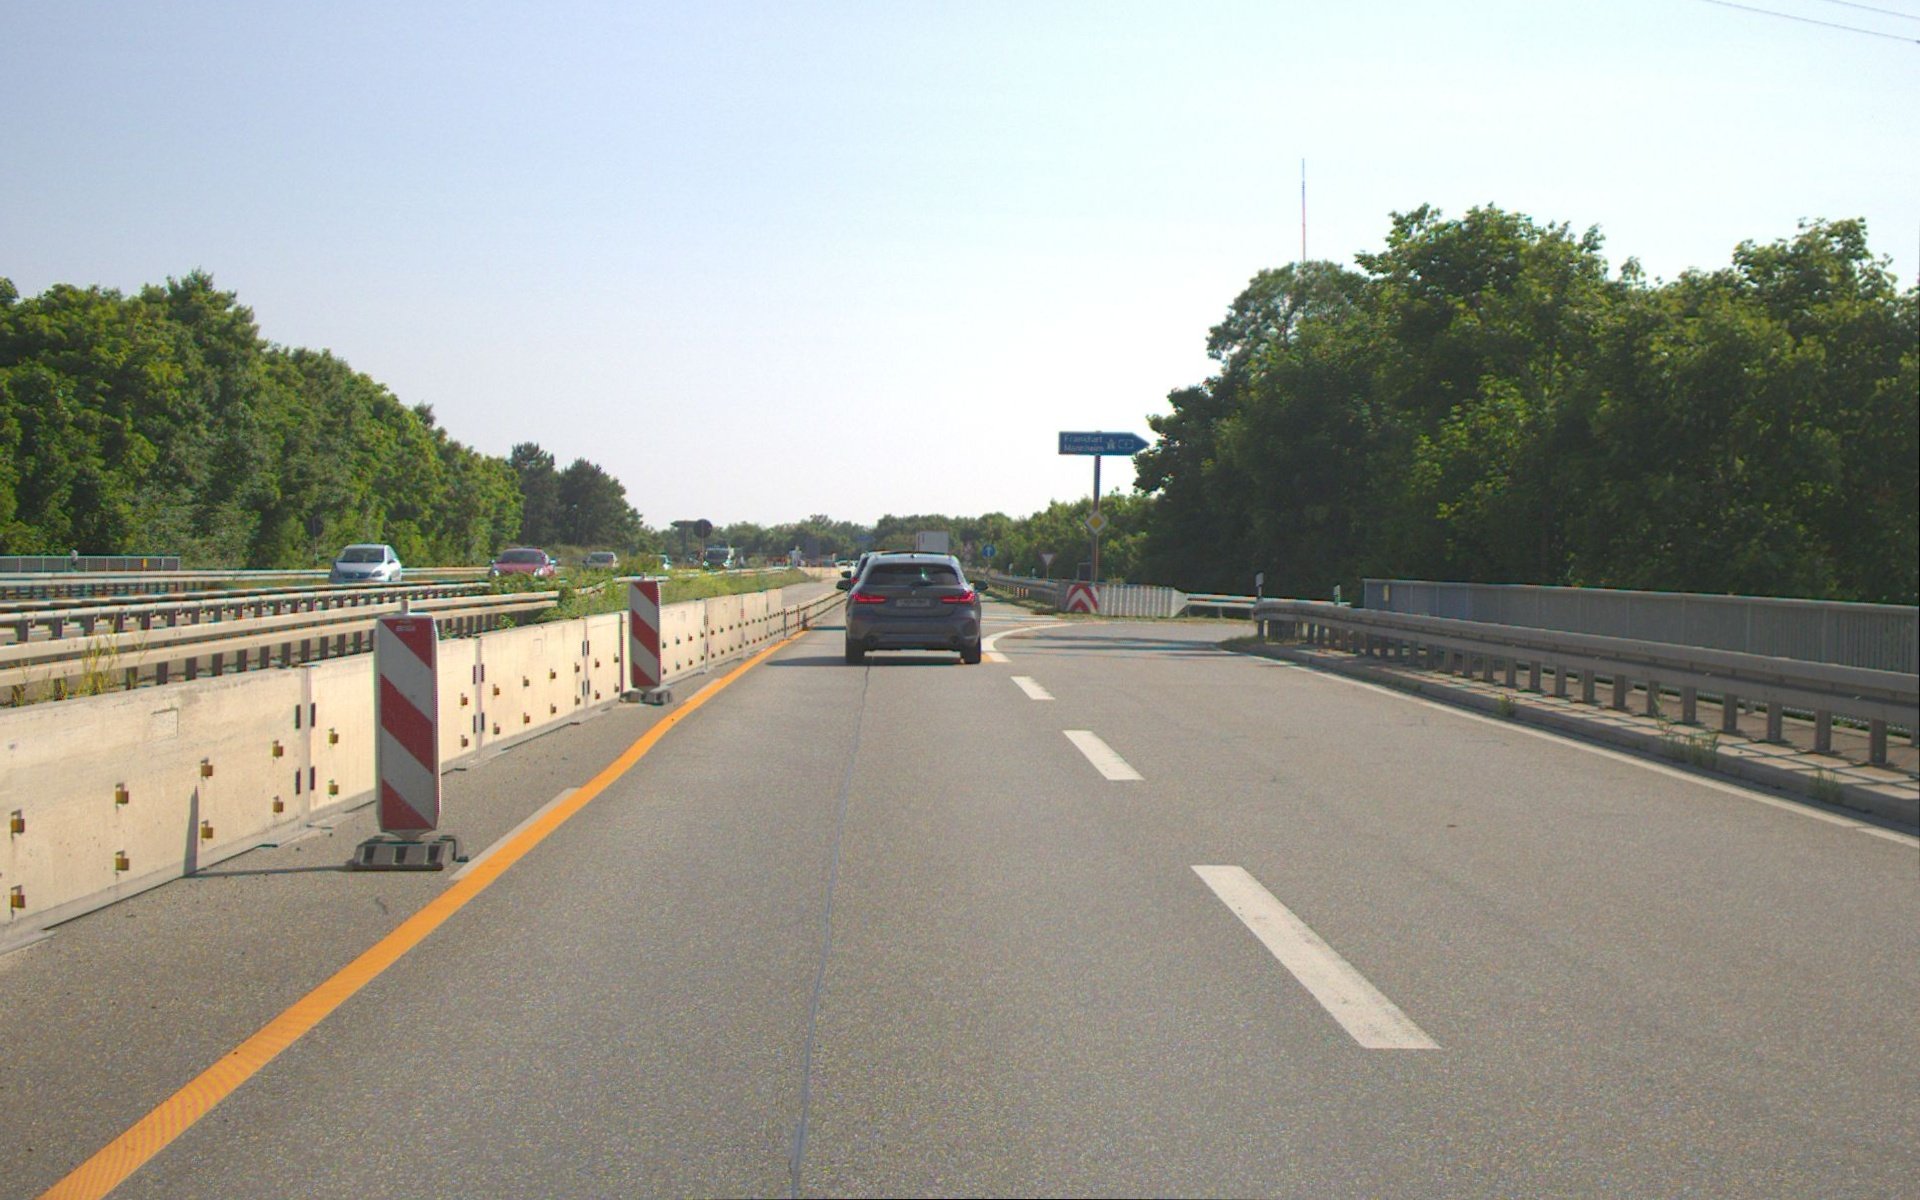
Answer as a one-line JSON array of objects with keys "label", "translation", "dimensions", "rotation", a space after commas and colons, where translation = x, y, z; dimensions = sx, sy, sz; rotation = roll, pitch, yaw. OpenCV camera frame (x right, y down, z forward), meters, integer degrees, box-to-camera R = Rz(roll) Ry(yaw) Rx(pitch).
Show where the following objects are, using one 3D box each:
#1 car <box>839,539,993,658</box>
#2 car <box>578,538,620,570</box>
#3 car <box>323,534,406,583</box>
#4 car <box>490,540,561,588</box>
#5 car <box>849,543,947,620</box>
[{"label": "car", "translation": [-0.633, -0.052, 46.061], "dimensions": [1.920, 1.488, 4.000], "rotation": [1, 1, -2]}, {"label": "car", "translation": [-18.590, -2.363, 177.105], "dimensions": [1.763, 1.577, 4.422], "rotation": [0, 1, -1]}, {"label": "car", "translation": [-17.426, -1.229, 100.765], "dimensions": [1.777, 1.388, 4.126], "rotation": [-1, 1, -1]}, {"label": "car", "translation": [-13.048, -1.082, 103.513], "dimensions": [1.714, 1.392, 4.221], "rotation": [1, 1, -2]}, {"label": "car", "translation": [-1.273, -0.398, 71.720], "dimensions": [1.993, 1.561, 4.000], "rotation": [0, 1, 0]}]
